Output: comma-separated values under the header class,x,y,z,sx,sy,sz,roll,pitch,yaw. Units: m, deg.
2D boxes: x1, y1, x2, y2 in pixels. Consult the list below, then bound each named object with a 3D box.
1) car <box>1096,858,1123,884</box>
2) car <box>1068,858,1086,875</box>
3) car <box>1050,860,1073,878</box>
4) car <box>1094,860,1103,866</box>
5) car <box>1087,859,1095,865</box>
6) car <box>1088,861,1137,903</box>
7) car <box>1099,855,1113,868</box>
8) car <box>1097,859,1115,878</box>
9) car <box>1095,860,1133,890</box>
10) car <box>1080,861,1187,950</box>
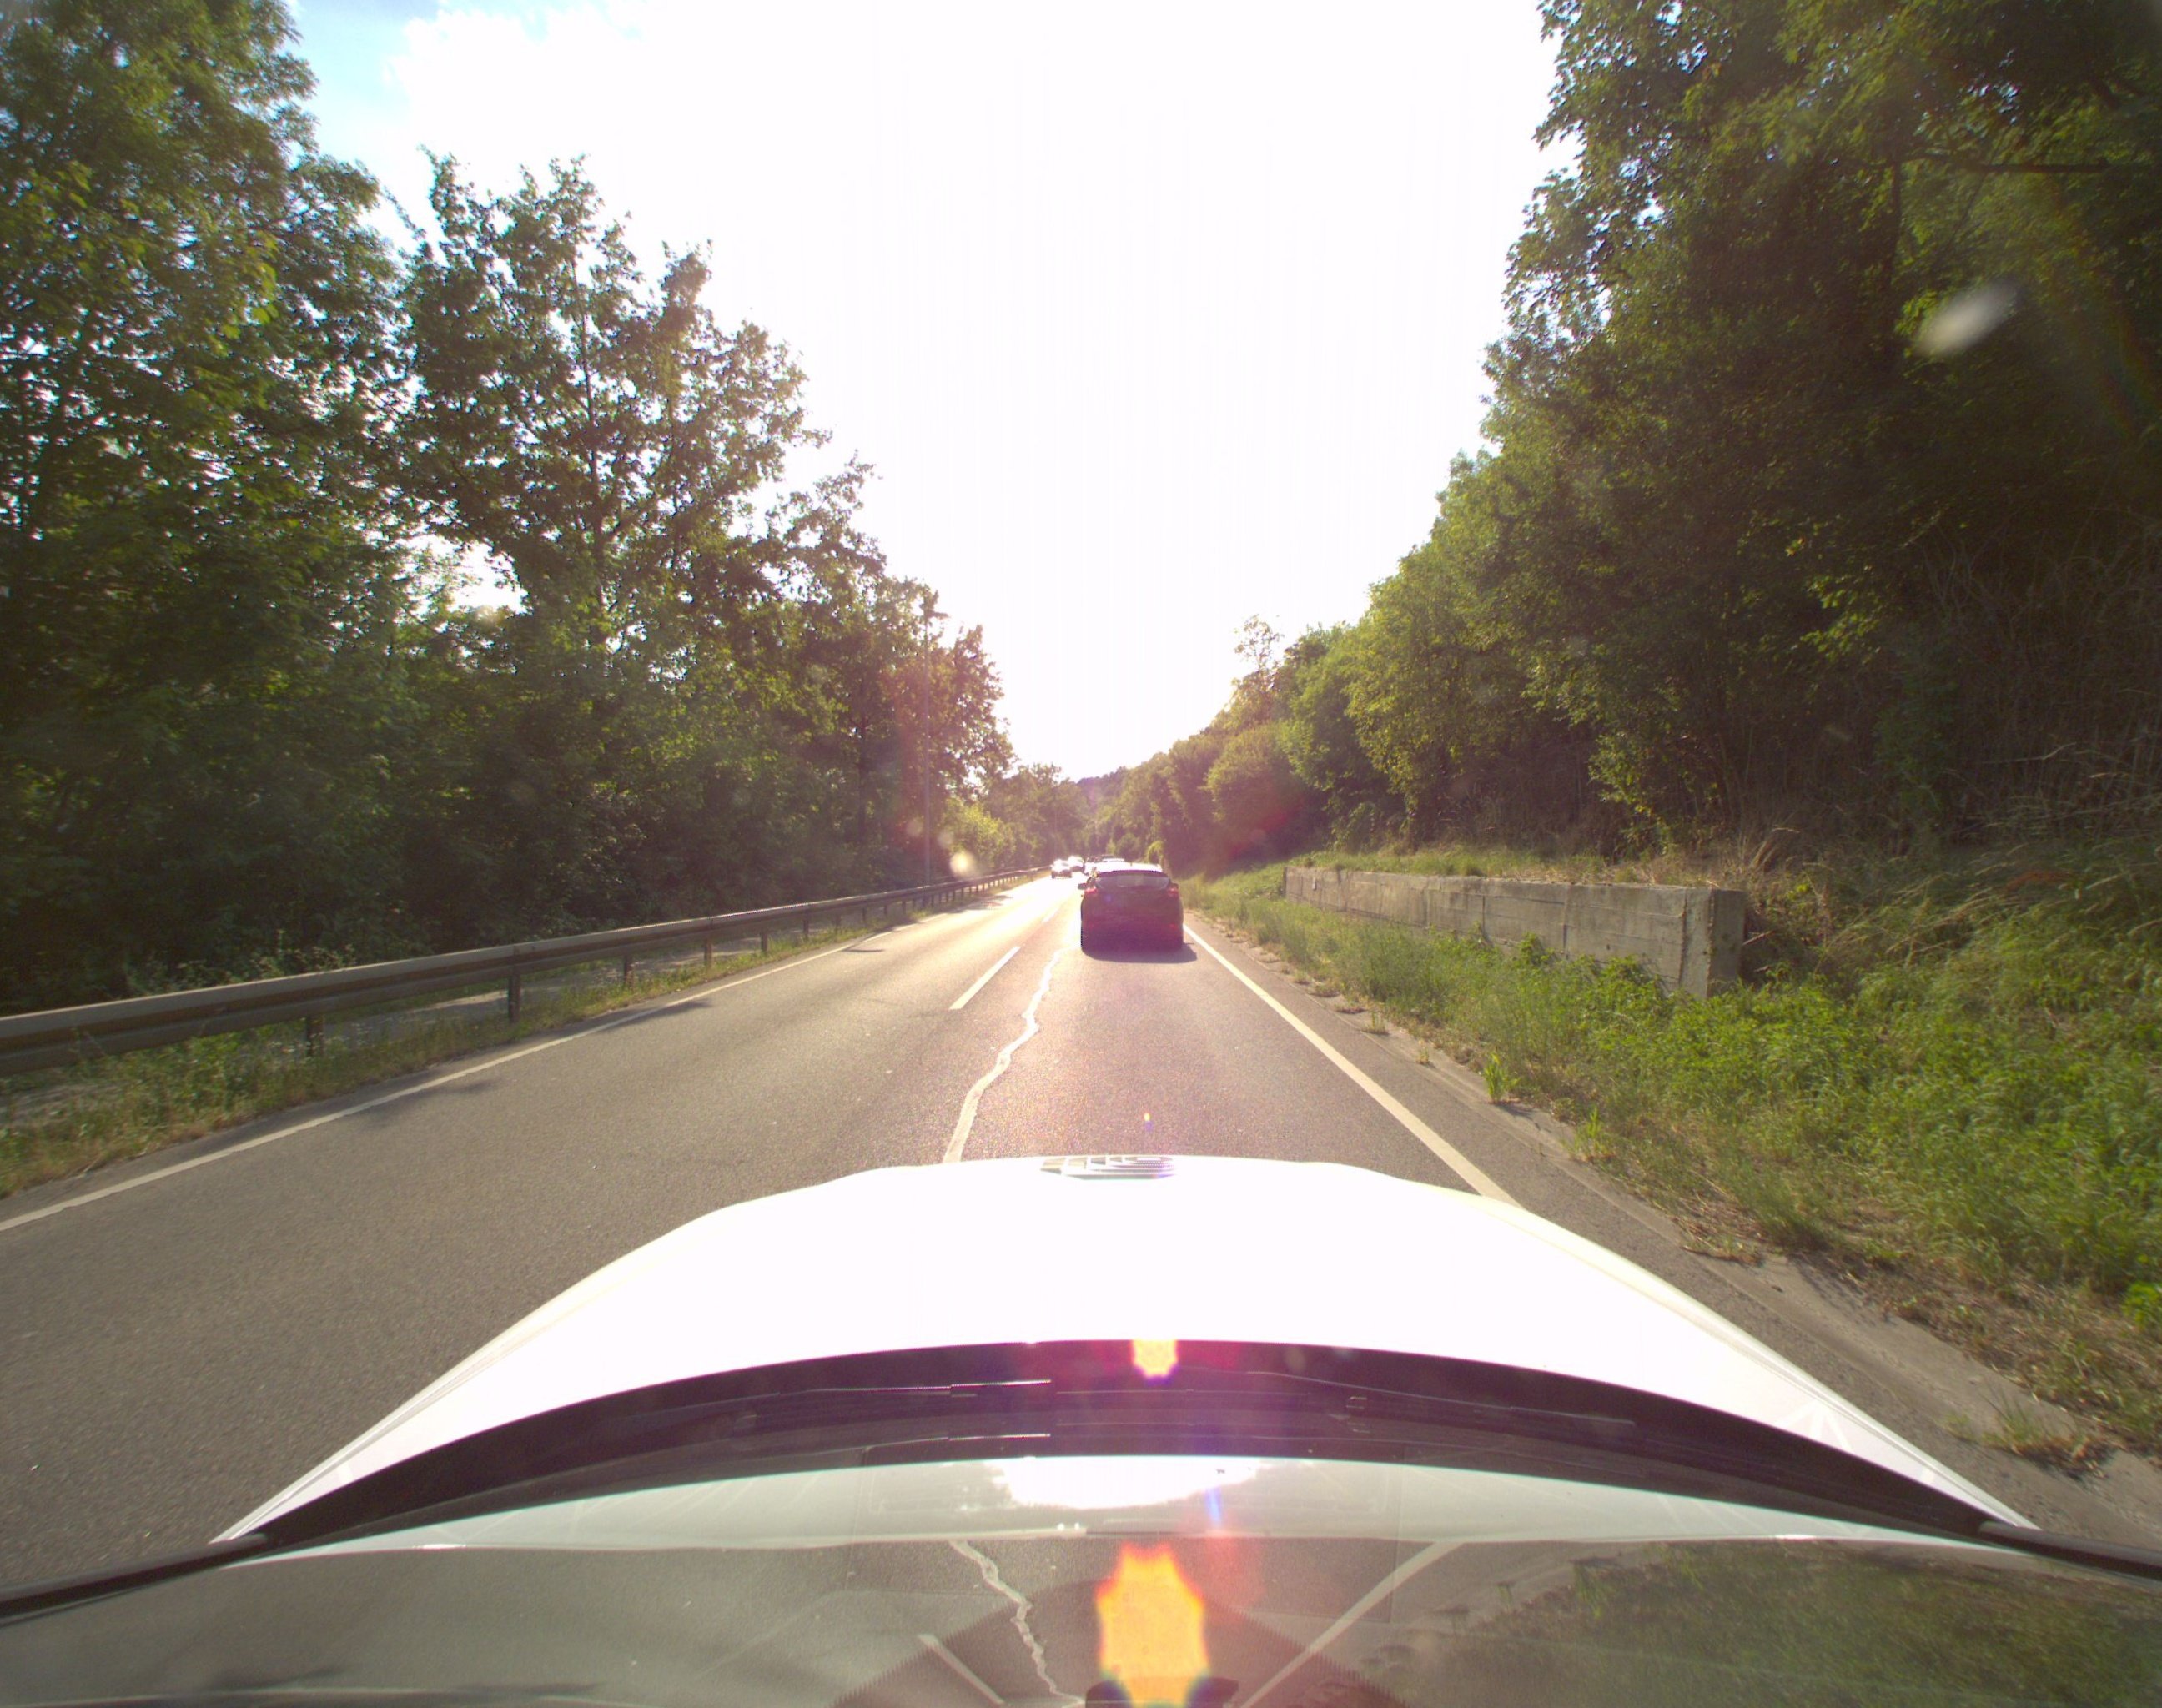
class,x,y,z,sx,sy,sz,roll,pitch,yaw
car,1.884,1.092,53.896,1.624,1.596,4.002,-1,0,2
car,-0.403,1.254,85.166,1.742,1.717,4.222,-1,0,1
car,-1.625,1.244,68.460,1.675,1.442,4.002,-1,0,2
car,4.481,2.271,210.216,1.991,1.519,3.992,-1,0,-6
car,2.928,2.371,243.813,1.991,1.519,3.992,-1,0,-6
car,1.199,0.983,30.225,1.654,1.418,4.003,-1,0,3
car,3.637,1.063,118.232,1.856,1.781,4.001,-1,0,1
car,2.282,1.285,73.923,1.624,1.596,4.002,-1,0,2
car,1.661,1.047,41.200,1.798,1.391,4.002,-1,0,2
car,0.930,0.869,15.332,1.733,1.456,4.002,0,-1,2
